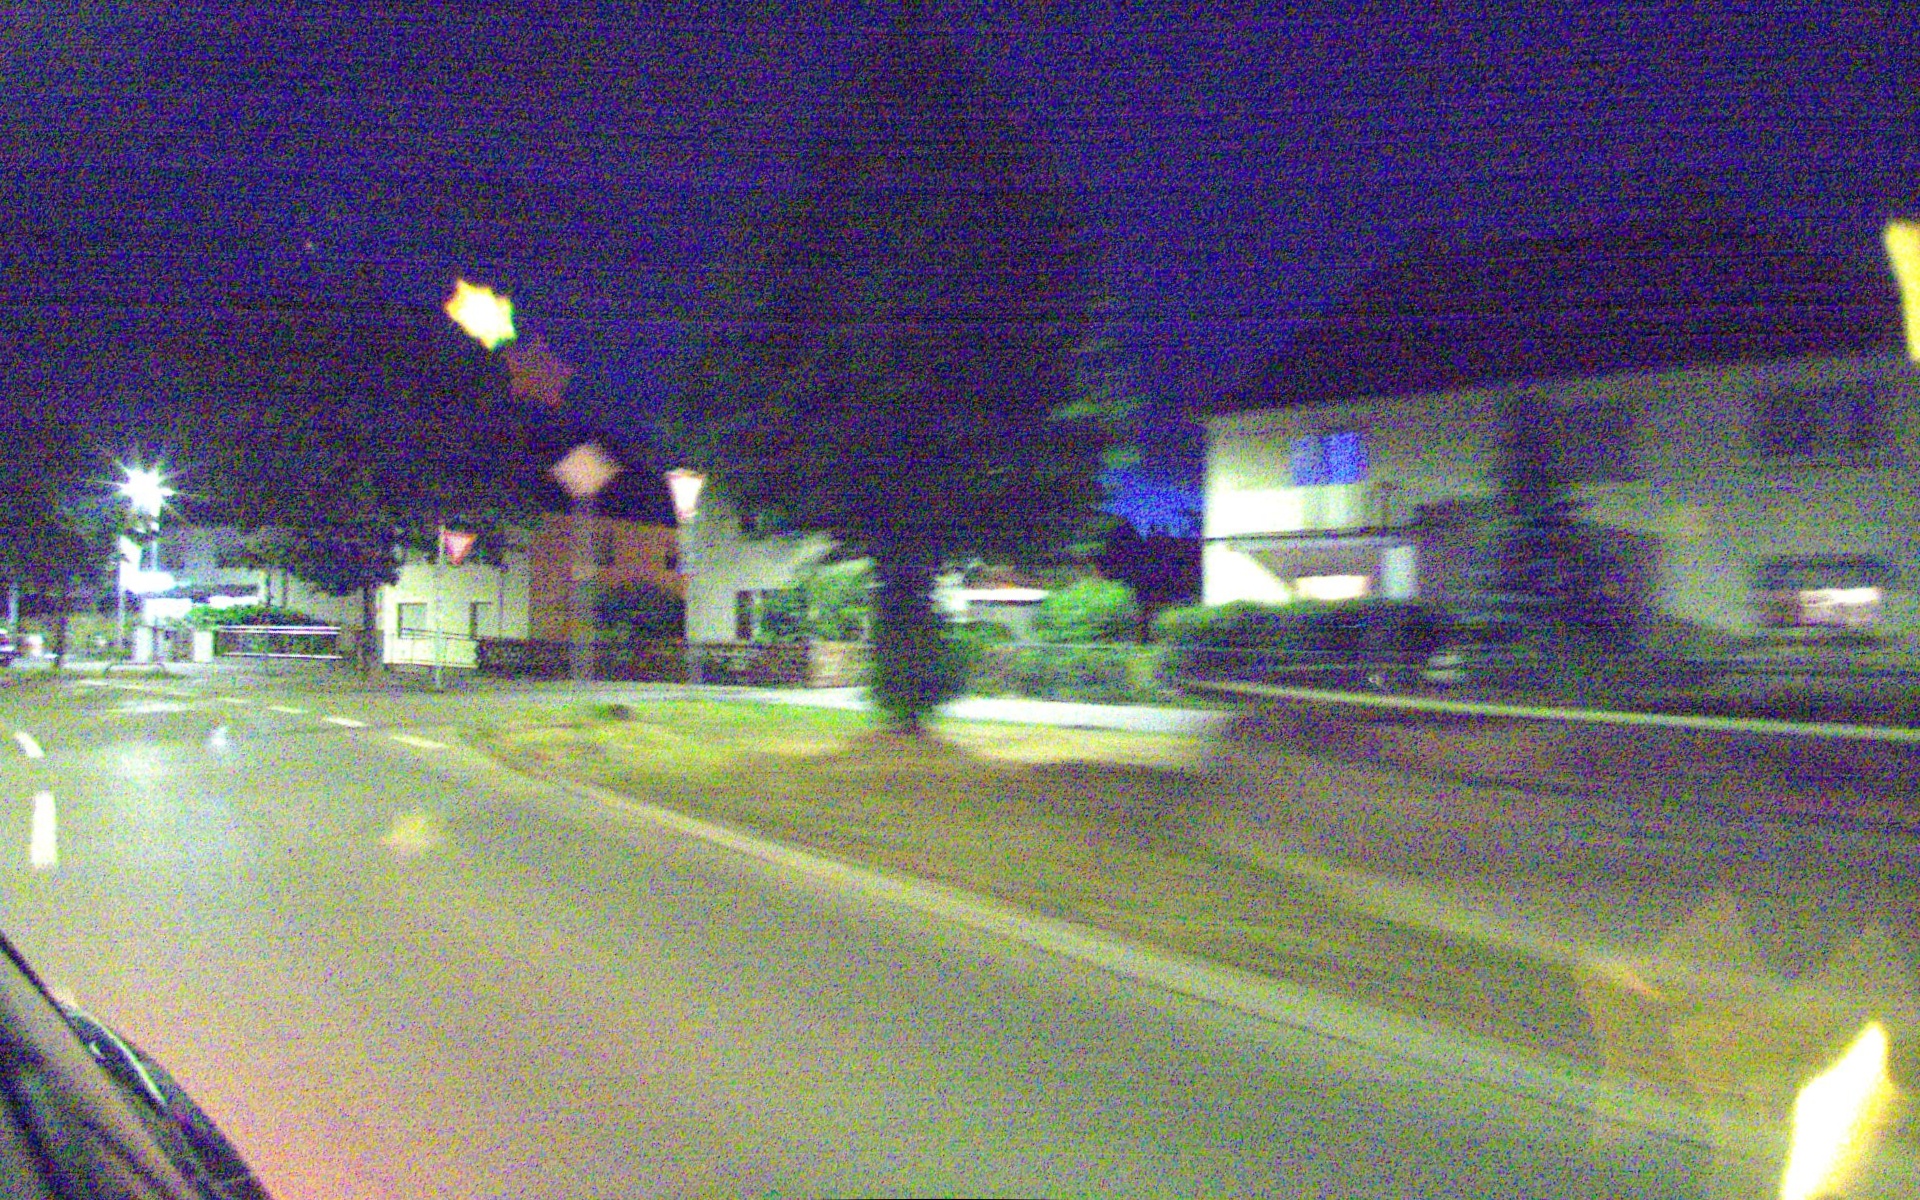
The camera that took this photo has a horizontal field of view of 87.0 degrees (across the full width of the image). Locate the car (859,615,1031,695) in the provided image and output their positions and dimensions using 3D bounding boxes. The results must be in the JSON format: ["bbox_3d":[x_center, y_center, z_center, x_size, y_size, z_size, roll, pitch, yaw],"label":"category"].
[{"bbox_3d":[-0.271,1.201,22.541,1.783,1.639,3.671,-2,-3,44],"label":"car"}]

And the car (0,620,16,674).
[{"bbox_3d":[-30.206,1.410,30.238,3.966,1.603,1.663,-1,-2,27],"label":"car"}]
